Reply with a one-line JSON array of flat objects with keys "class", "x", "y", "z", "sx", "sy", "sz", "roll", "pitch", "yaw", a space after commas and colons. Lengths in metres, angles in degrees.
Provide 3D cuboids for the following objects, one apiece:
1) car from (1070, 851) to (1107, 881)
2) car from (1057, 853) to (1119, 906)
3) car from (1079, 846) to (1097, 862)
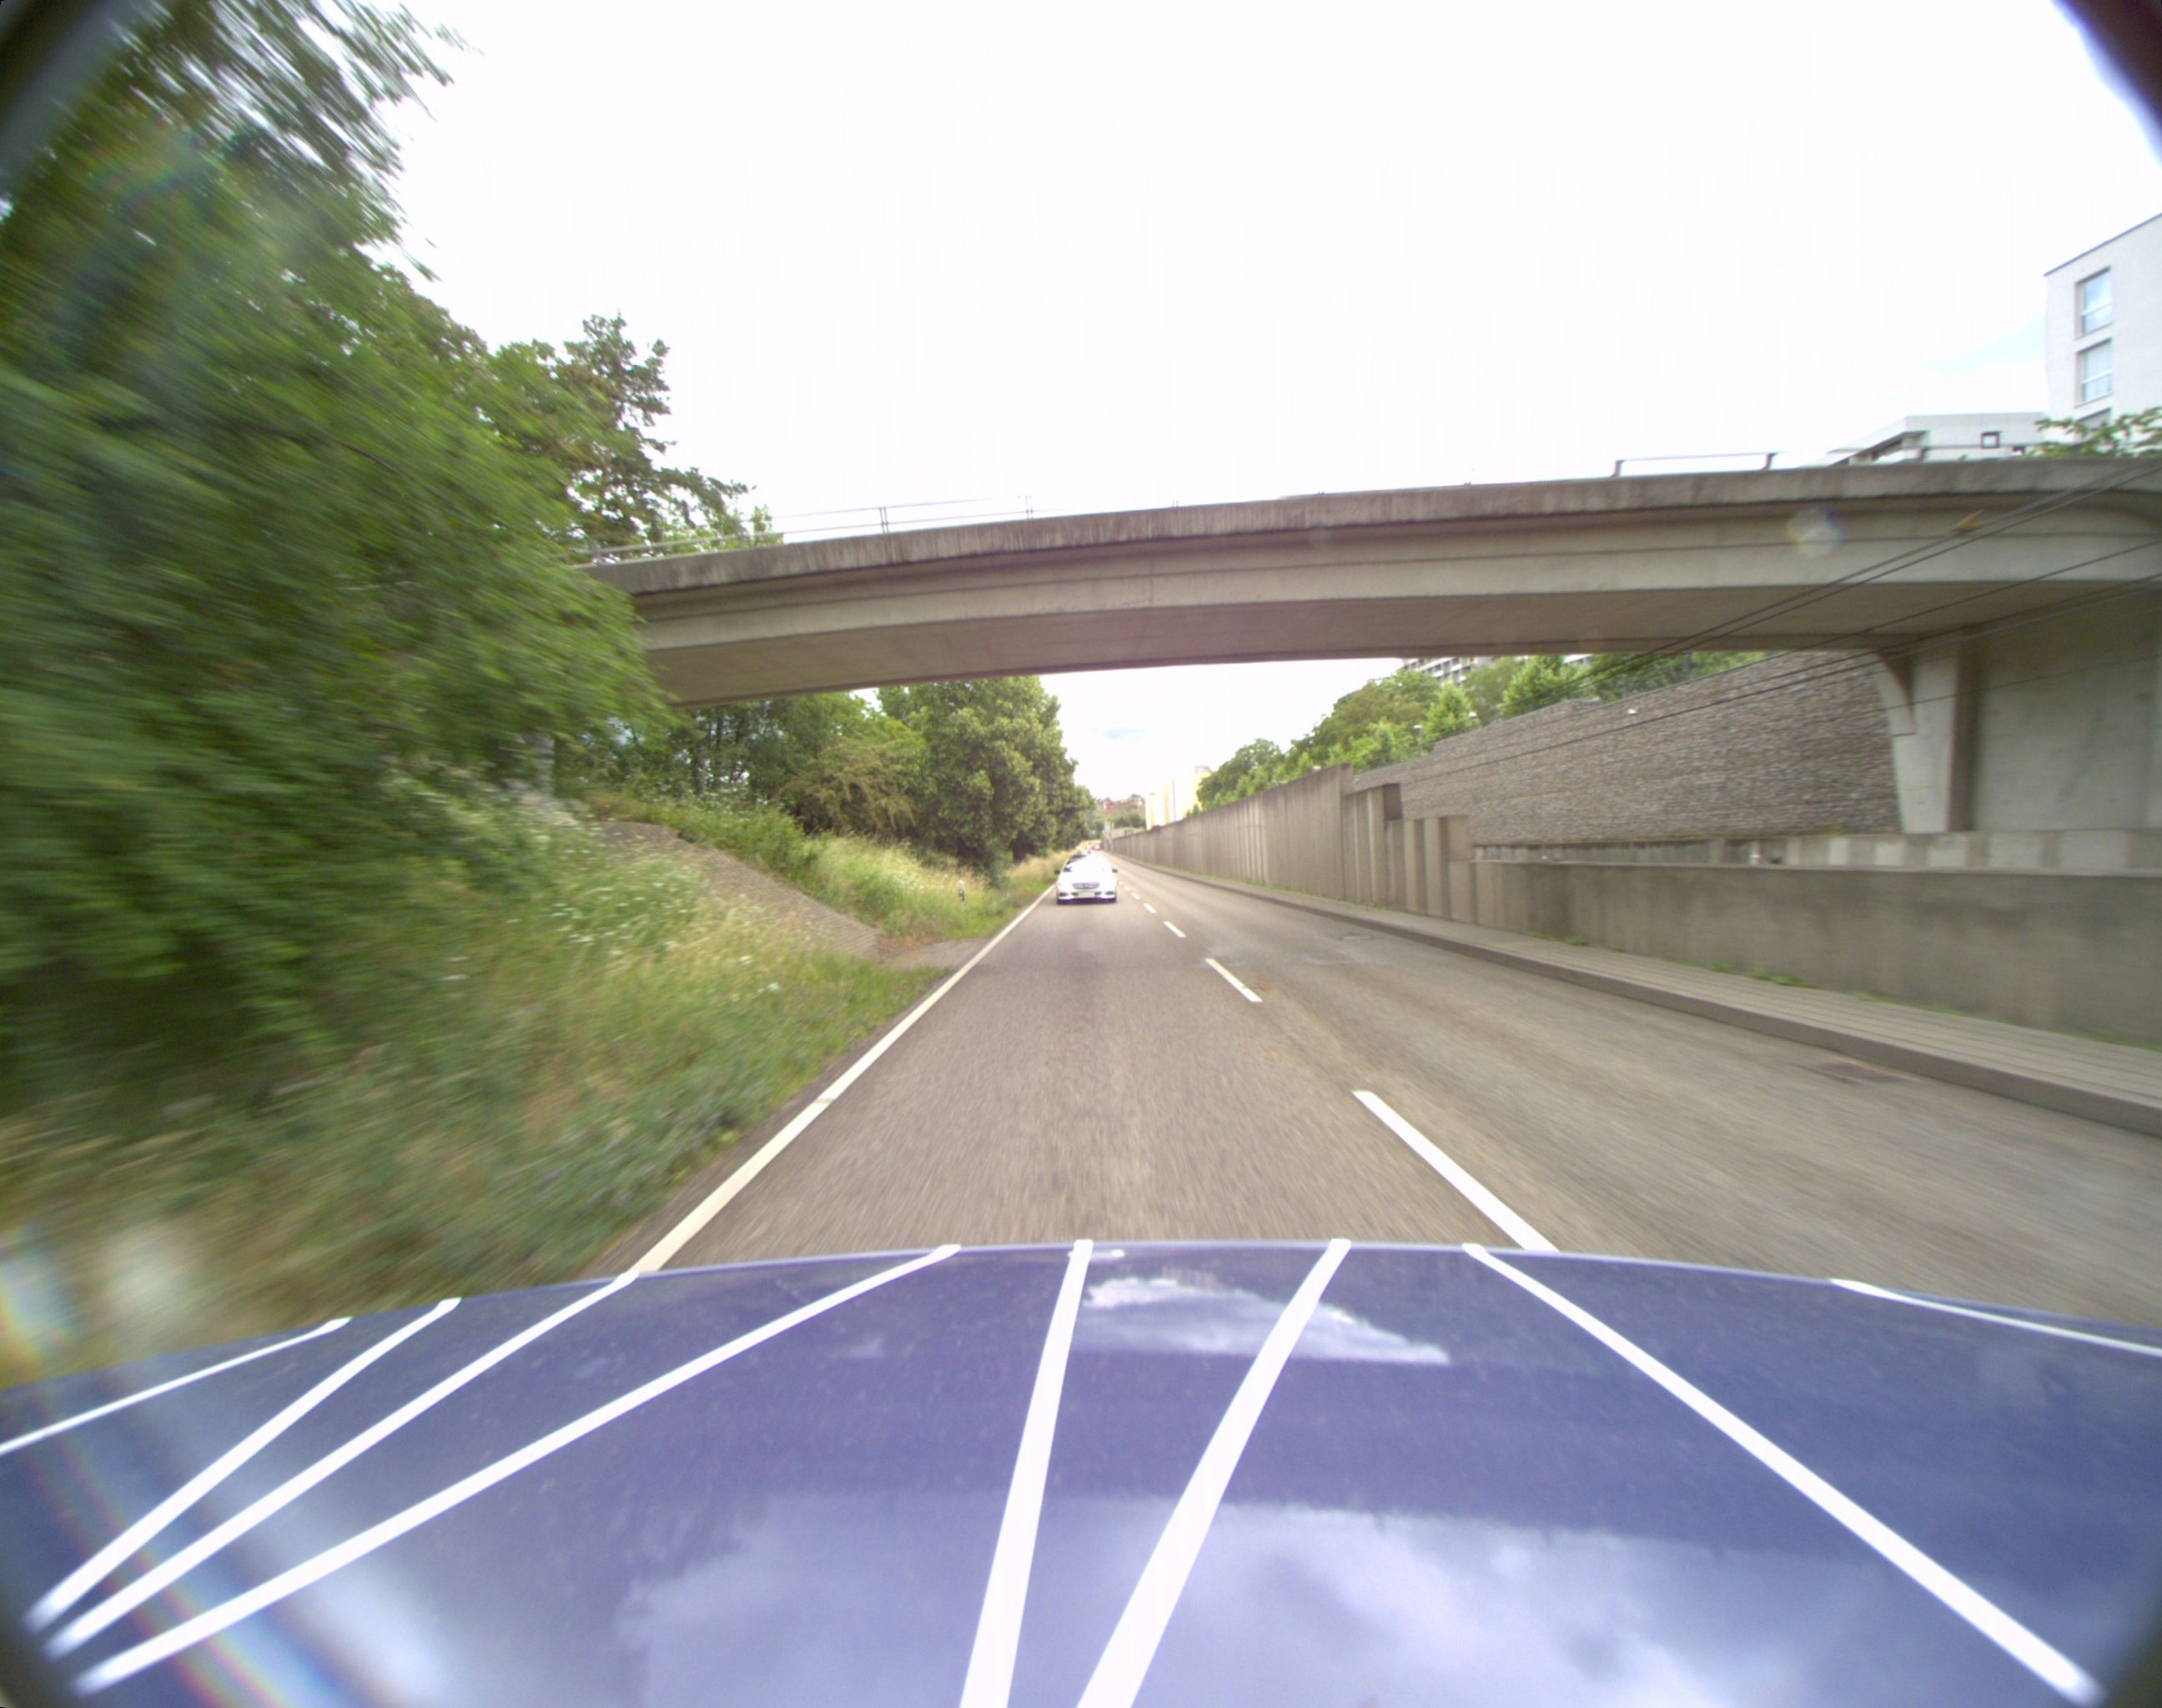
[{"class": "car", "x": 0.424, "y": 0.624, "z": 41.685, "sx": 1.878, "sy": 1.459, "sz": 3.999, "roll": -2, "pitch": 1, "yaw": 1}, {"class": "car", "x": 0.239, "y": 0.765, "z": 25.214, "sx": 1.842, "sy": 1.499, "sz": 4.160, "roll": -1, "pitch": 1, "yaw": 1}, {"class": "car", "x": 0.796, "y": -0.058, "z": 88.820, "sx": 1.998, "sy": 1.746, "sz": 4.000, "roll": -2, "pitch": 1, "yaw": 1}]
